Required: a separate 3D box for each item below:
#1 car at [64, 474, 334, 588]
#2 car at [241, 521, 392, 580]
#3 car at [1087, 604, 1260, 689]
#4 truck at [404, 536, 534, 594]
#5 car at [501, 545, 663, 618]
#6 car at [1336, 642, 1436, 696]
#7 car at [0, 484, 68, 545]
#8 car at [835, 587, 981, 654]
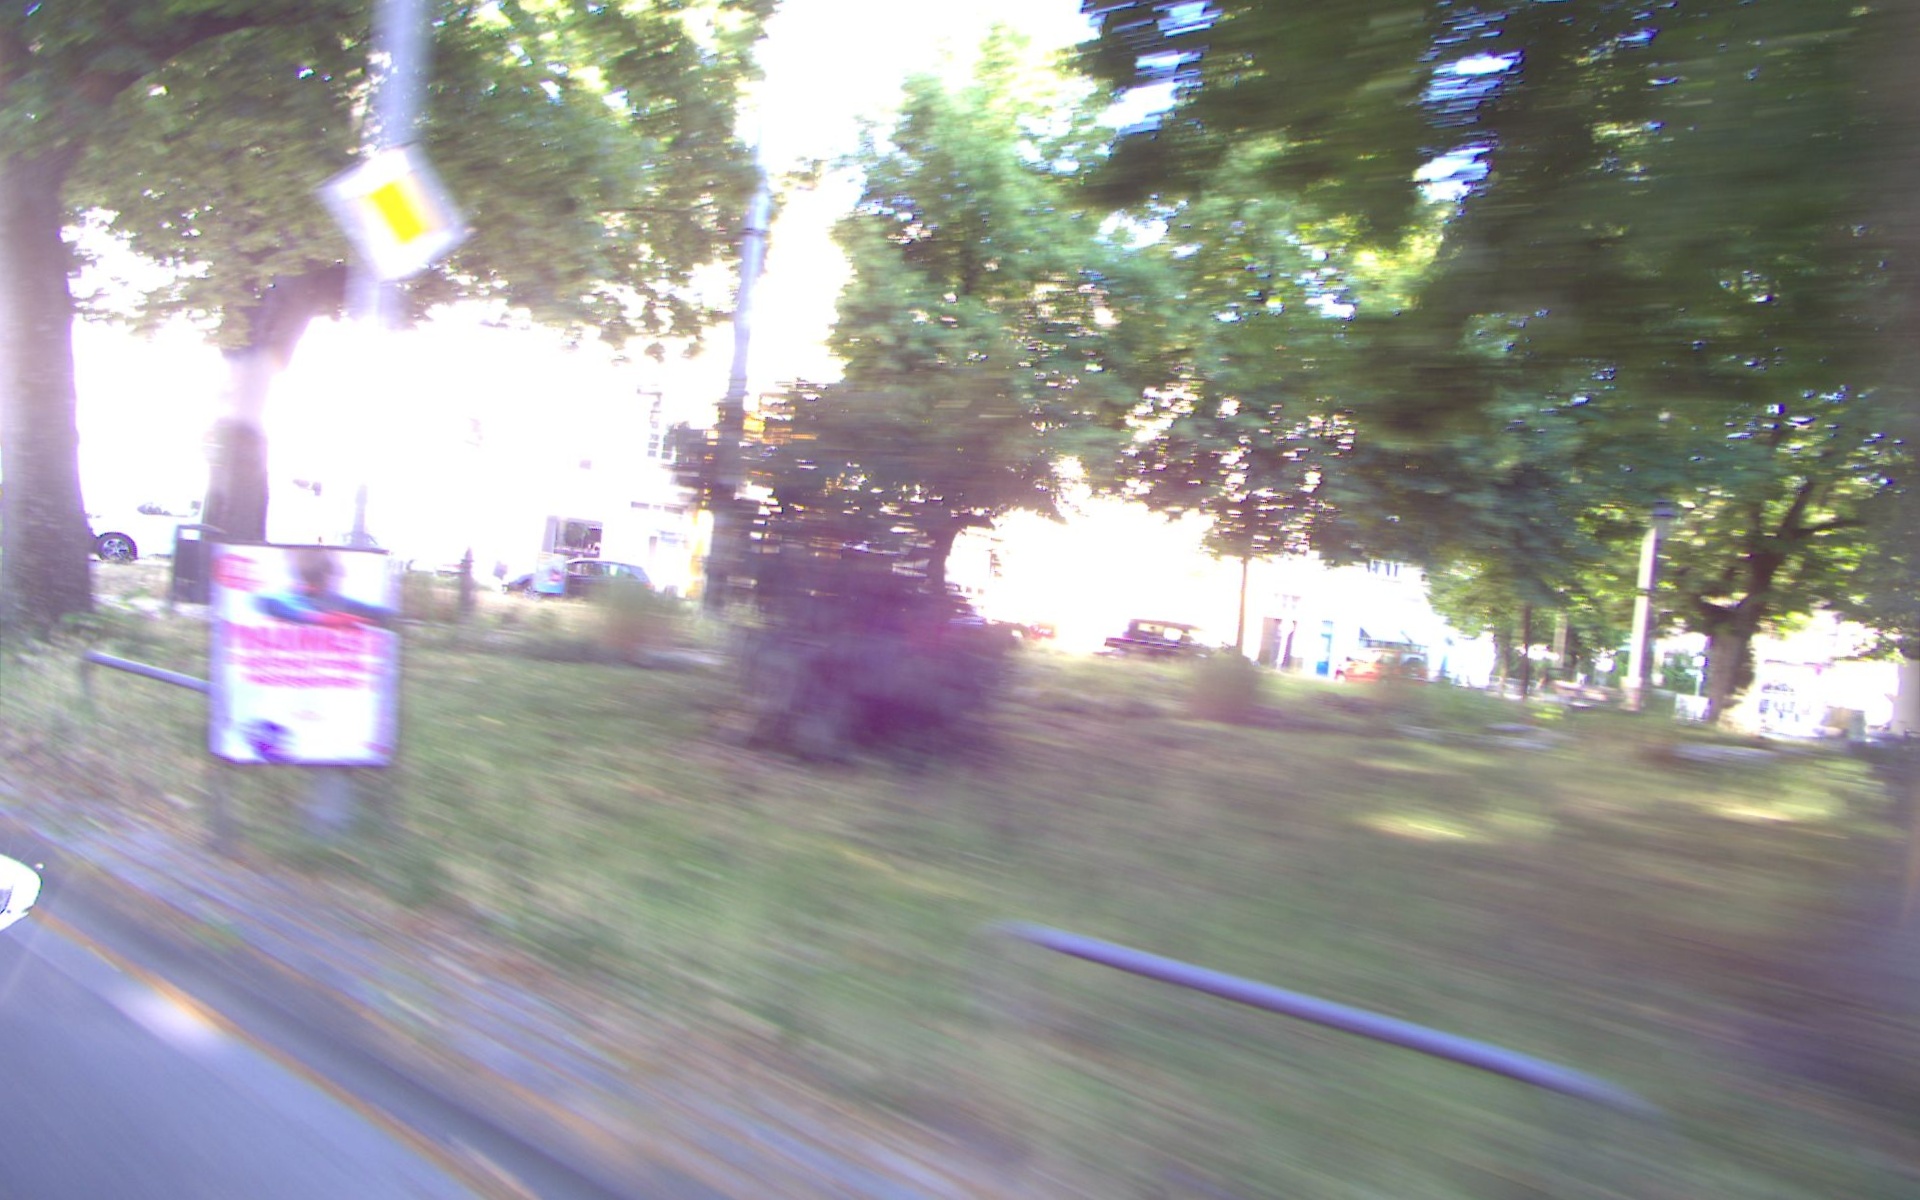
[{"bbox_3d":[-17.932,-1.575,24.071,4.856,1.877,1.982,8,0,-34],"label":"car"},{"bbox_3d":[-22.893,-1.736,35.965,4.039,1.470,1.991,8,0,-19],"label":"car"},{"bbox_3d":[5.699,1.230,26.926,3.941,1.815,1.993,7,-1,-19],"label":"car"},{"bbox_3d":[-18.413,-1.296,37.921,4.039,1.605,1.991,8,0,-19],"label":"truck"},{"bbox_3d":[-10.515,-0.503,28.277,4.013,1.462,1.992,8,0,-18],"label":"car"},{"bbox_3d":[20.182,3.244,47.867,1.972,1.944,4.052,7,0,-21],"label":"car"},{"bbox_3d":[-32.189,-3.005,32.709,4.150,1.770,1.991,8,0,-20],"label":"car"},{"bbox_3d":[-1.645,0.631,31.443,4.015,1.537,1.991,8,0,-20],"label":"car"}]
